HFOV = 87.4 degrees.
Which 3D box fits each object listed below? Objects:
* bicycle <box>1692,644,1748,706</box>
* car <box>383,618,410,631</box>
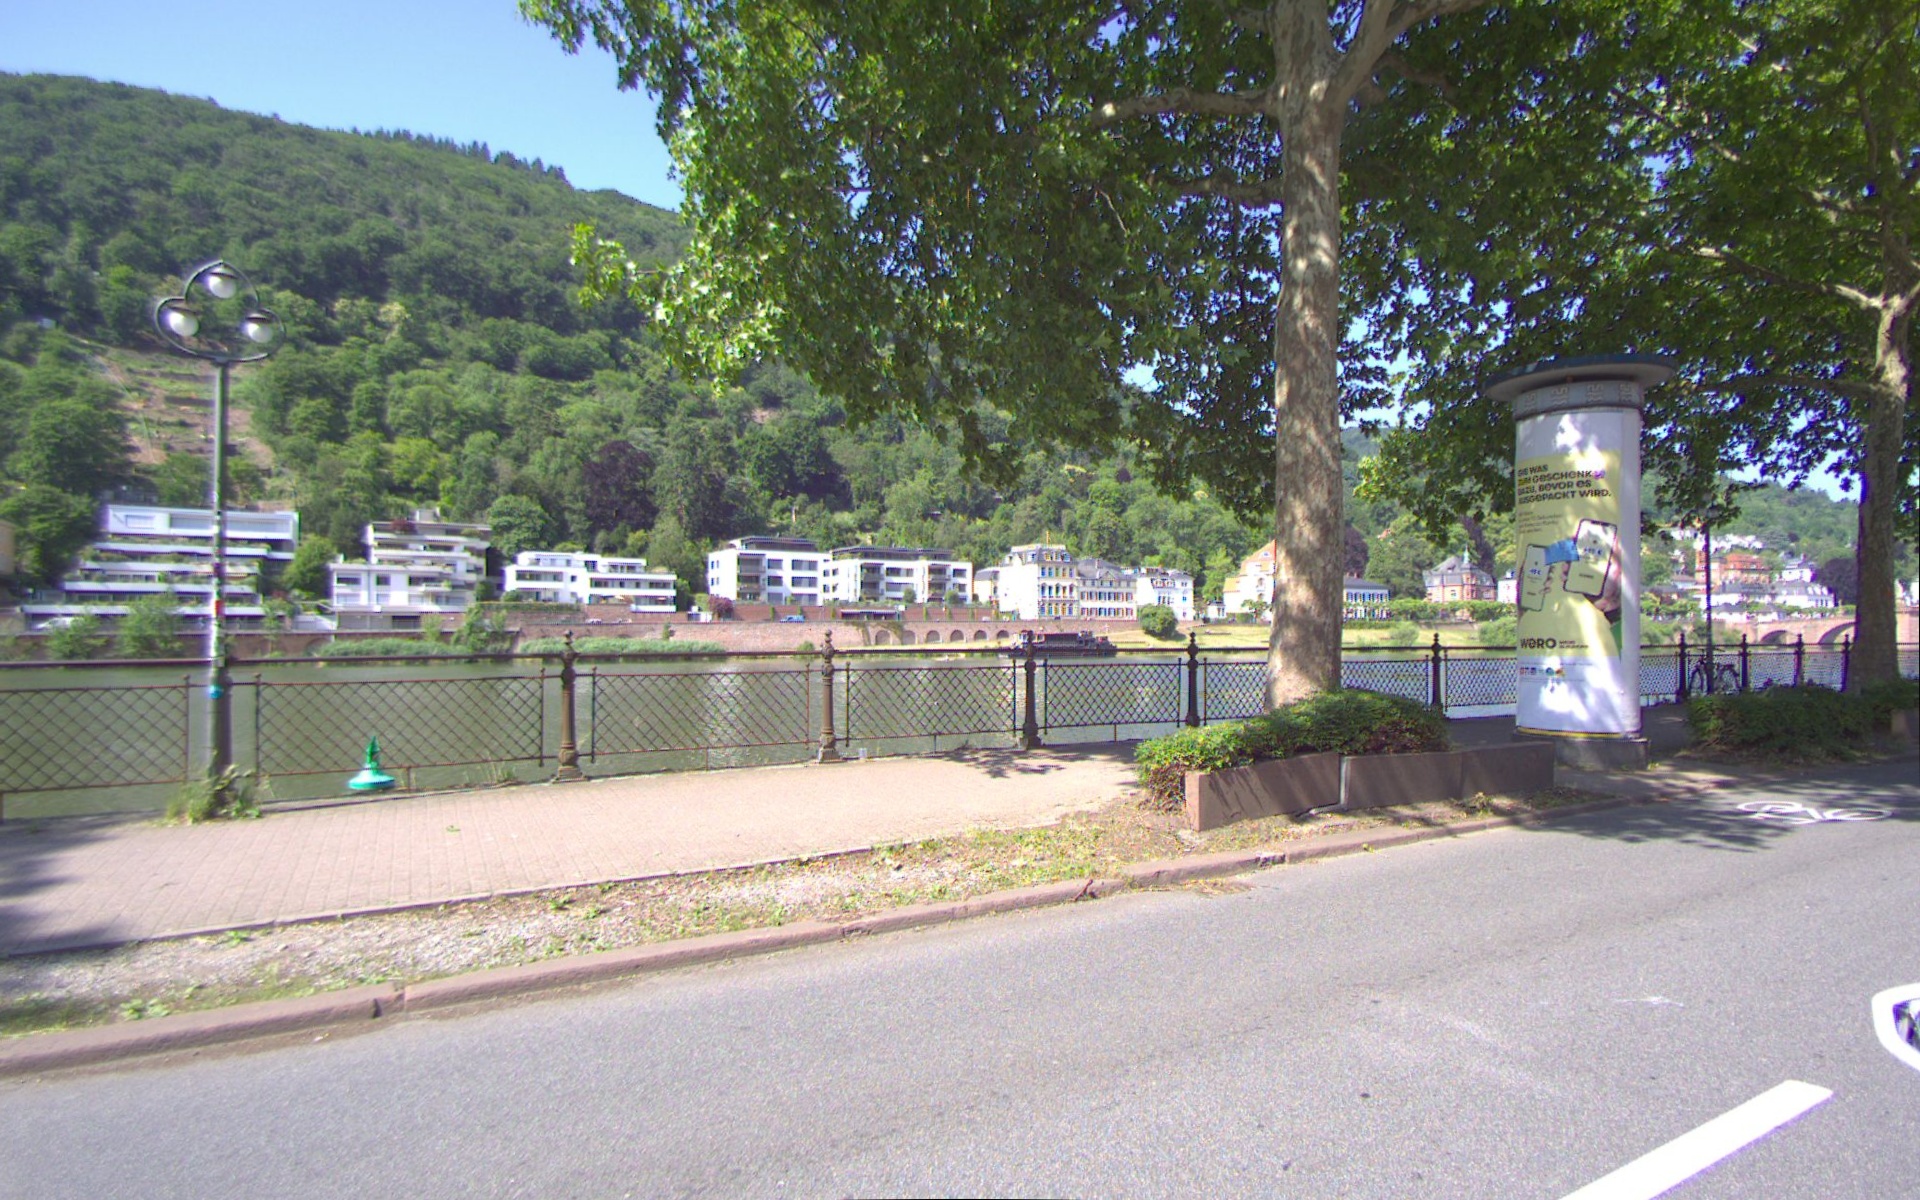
[{"bbox_3d":[14.355,1.396,18.963,1.281,1.106,0.357,1,2,-31],"label":"bicycle"},{"bbox_3d":[-95.476,4.193,170.077,3.953,2.041,1.984,0,1,-30],"label":"car"}]
